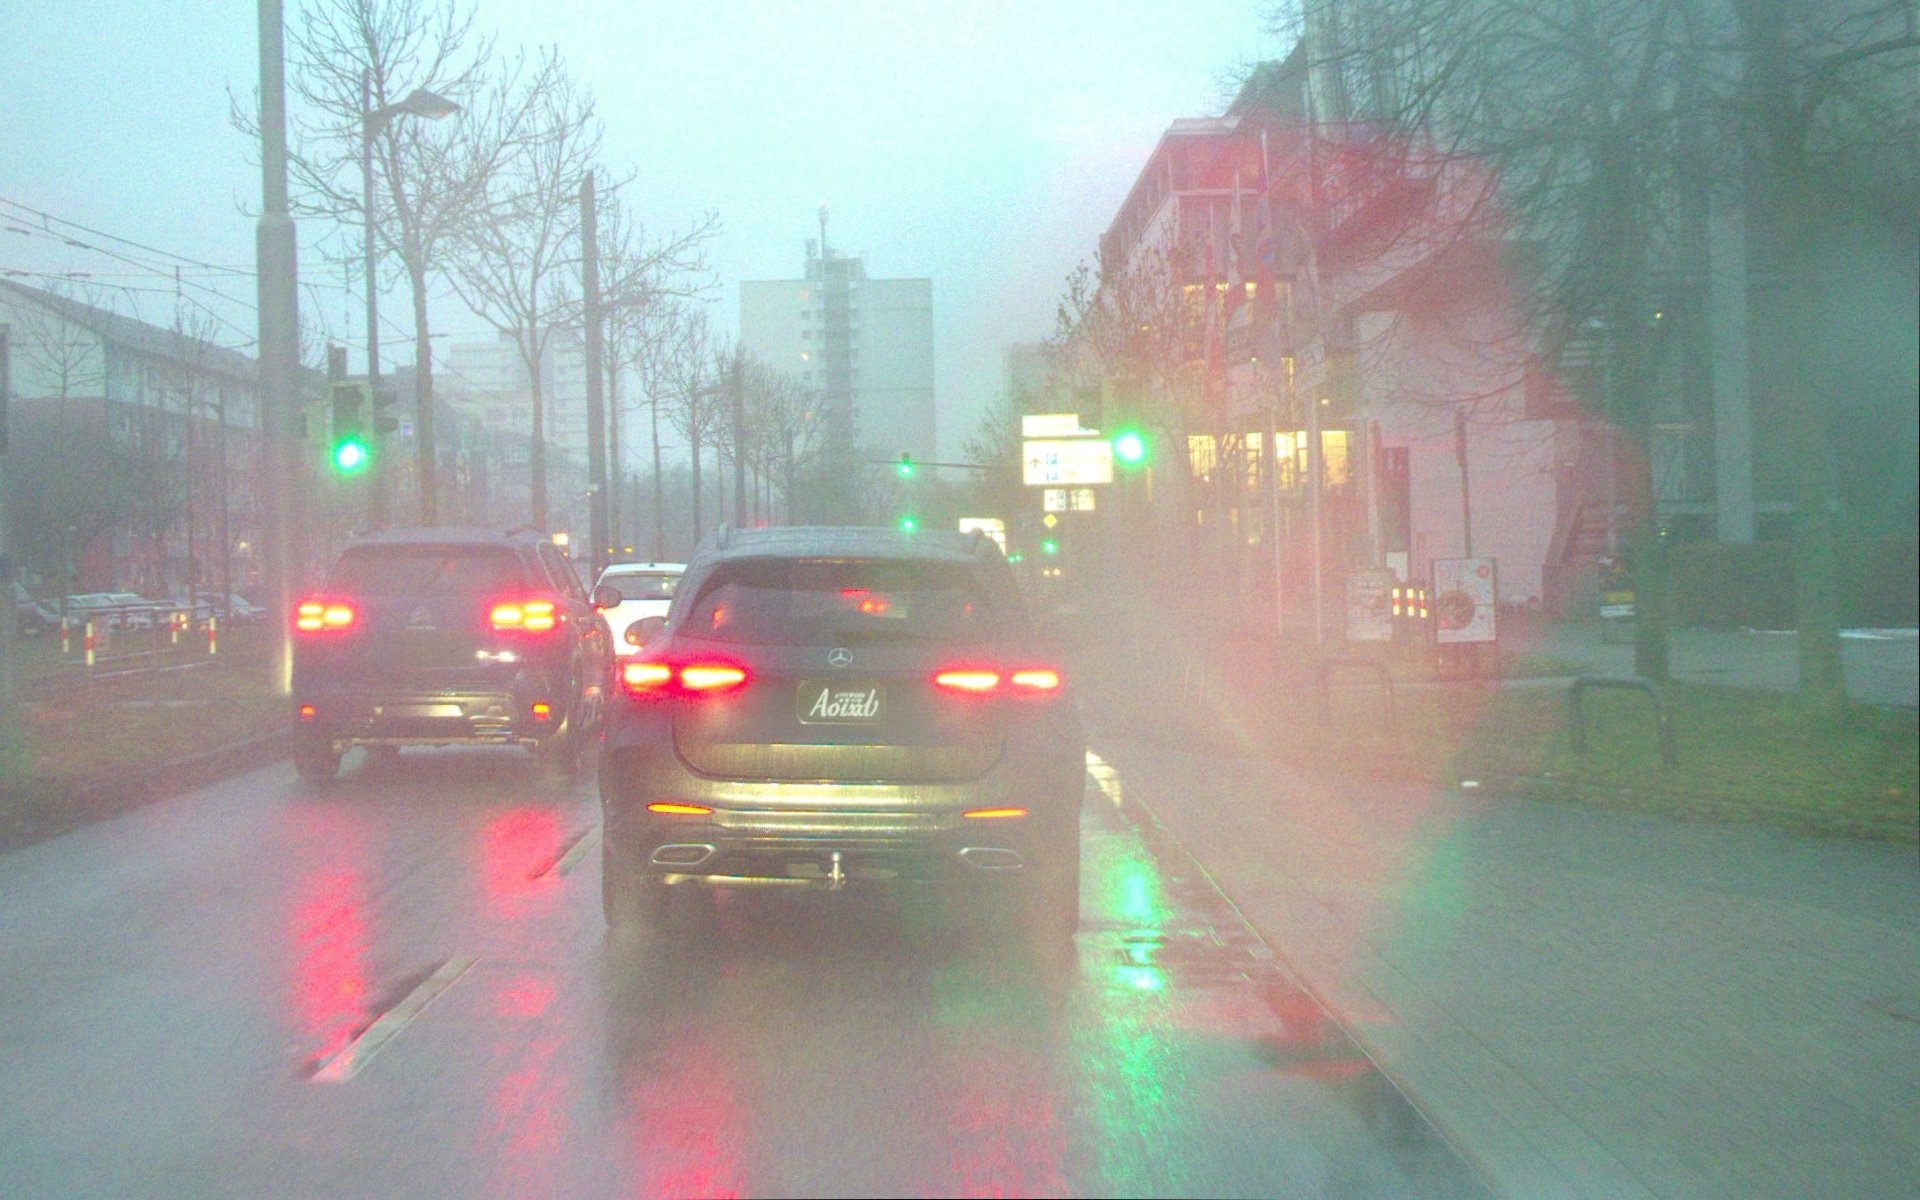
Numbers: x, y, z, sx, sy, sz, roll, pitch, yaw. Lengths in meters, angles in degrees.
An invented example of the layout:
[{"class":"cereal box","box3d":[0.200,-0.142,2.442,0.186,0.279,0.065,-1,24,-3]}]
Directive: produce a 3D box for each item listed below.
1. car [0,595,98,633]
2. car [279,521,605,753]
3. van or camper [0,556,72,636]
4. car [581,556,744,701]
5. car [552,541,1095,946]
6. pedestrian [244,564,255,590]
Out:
[{"class":"car","box3d":[-30.229,0.444,112.737,3.535,1.196,1.879,1,1,31]},{"class":"car","box3d":[-3.470,0.215,23.670,1.817,1.445,4.000,1,0,-3]},{"class":"van or camper","box3d":[-30.289,-0.166,105.009,6.872,2.352,1.996,1,0,33]},{"class":"car","box3d":[-3.483,0.311,40.729,1.689,1.630,3.474,1,0,-1]},{"class":"car","box3d":[-0.541,0.526,14.597,1.993,1.478,3.700,1,0,-1]},{"class":"pedestrian","box3d":[-32.645,-1.062,157.940,0.345,1.180,0.434,0,0,-41]}]
